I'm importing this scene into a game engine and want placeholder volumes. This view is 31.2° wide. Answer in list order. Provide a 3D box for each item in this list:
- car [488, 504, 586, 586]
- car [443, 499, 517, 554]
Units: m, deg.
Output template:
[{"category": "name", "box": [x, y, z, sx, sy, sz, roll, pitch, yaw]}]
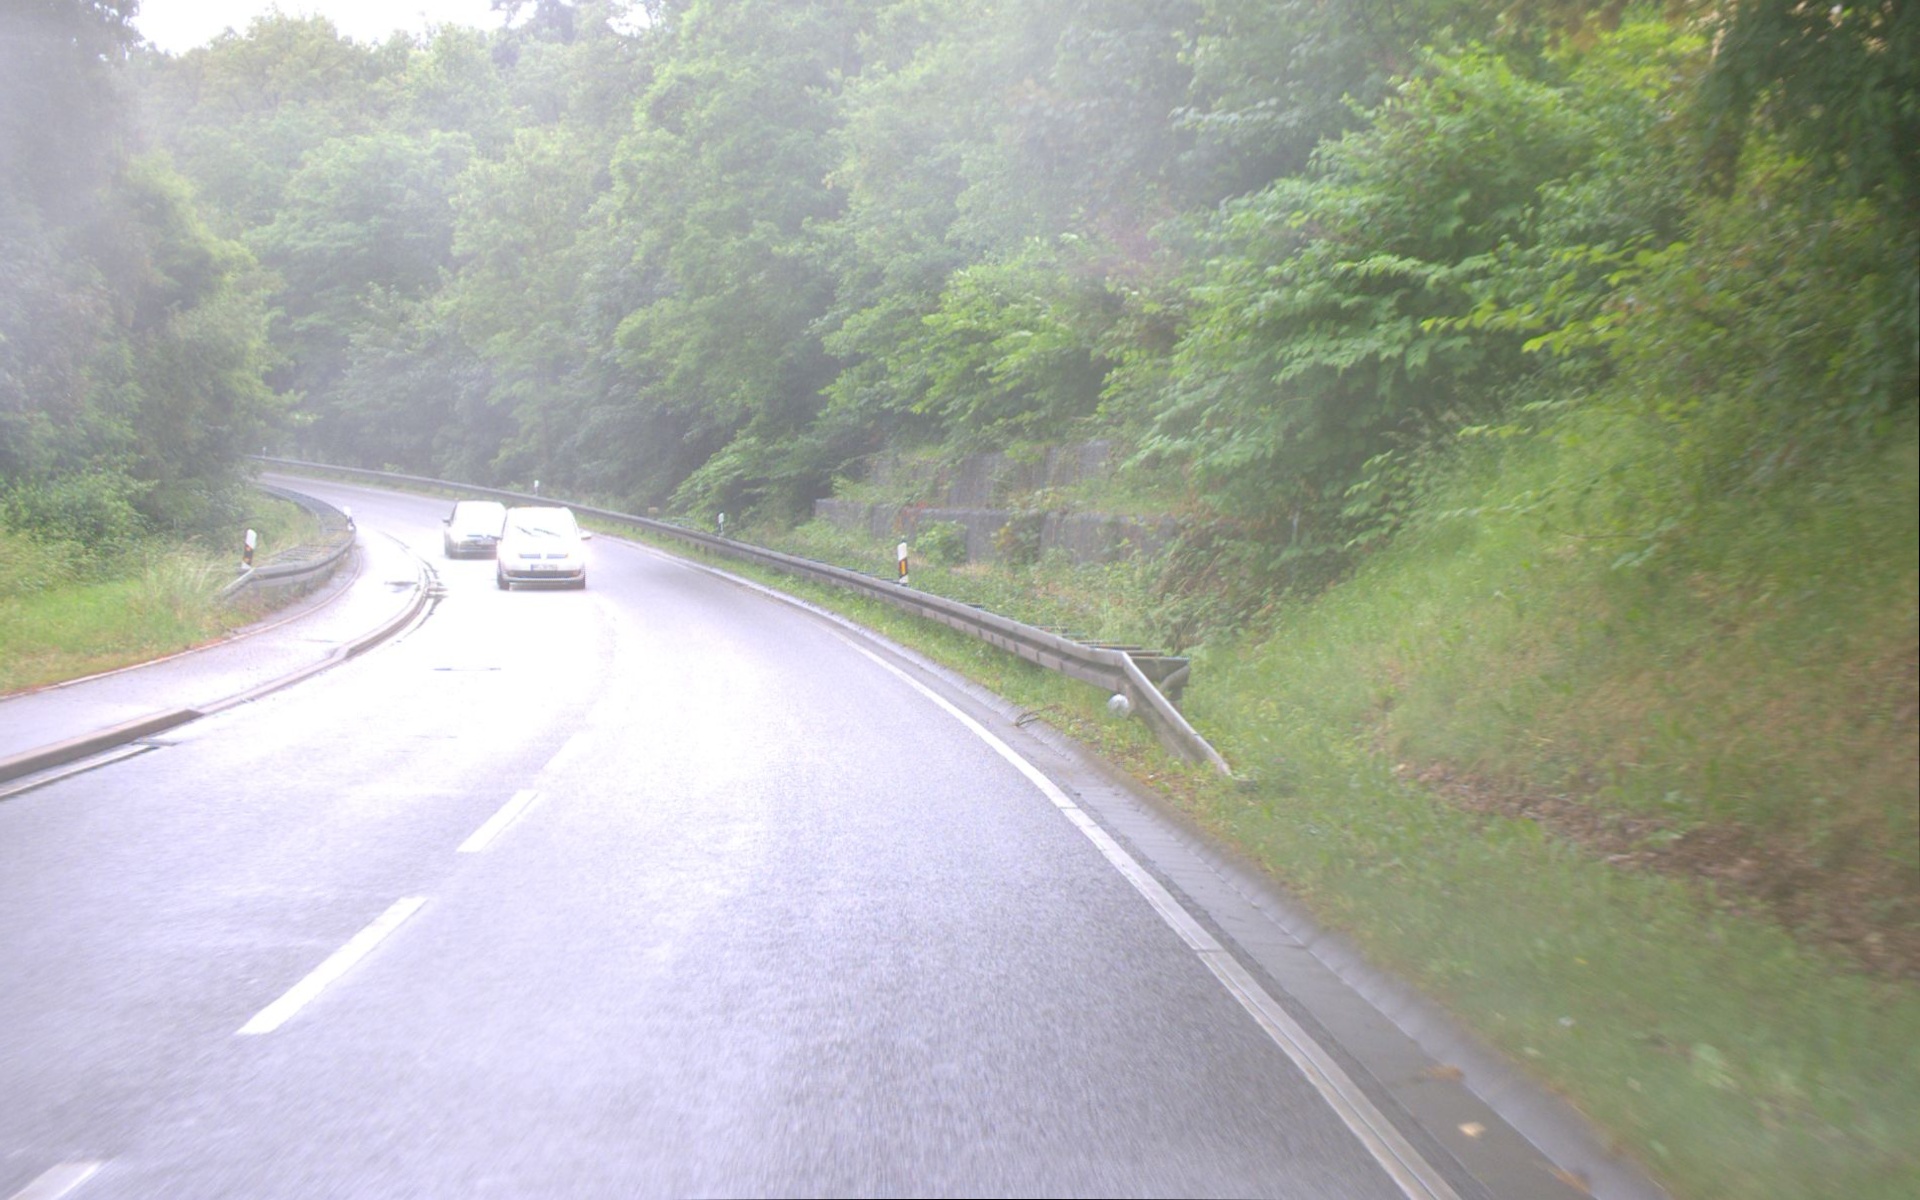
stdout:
[{"category": "car", "box": [-8.833, -1.144, 71.639, 1.814, 1.642, 4.132, 0, 1, -10]}, {"category": "car", "box": [-12.746, -1.935, 91.188, 1.814, 1.429, 4.001, 0, 1, -10]}]
